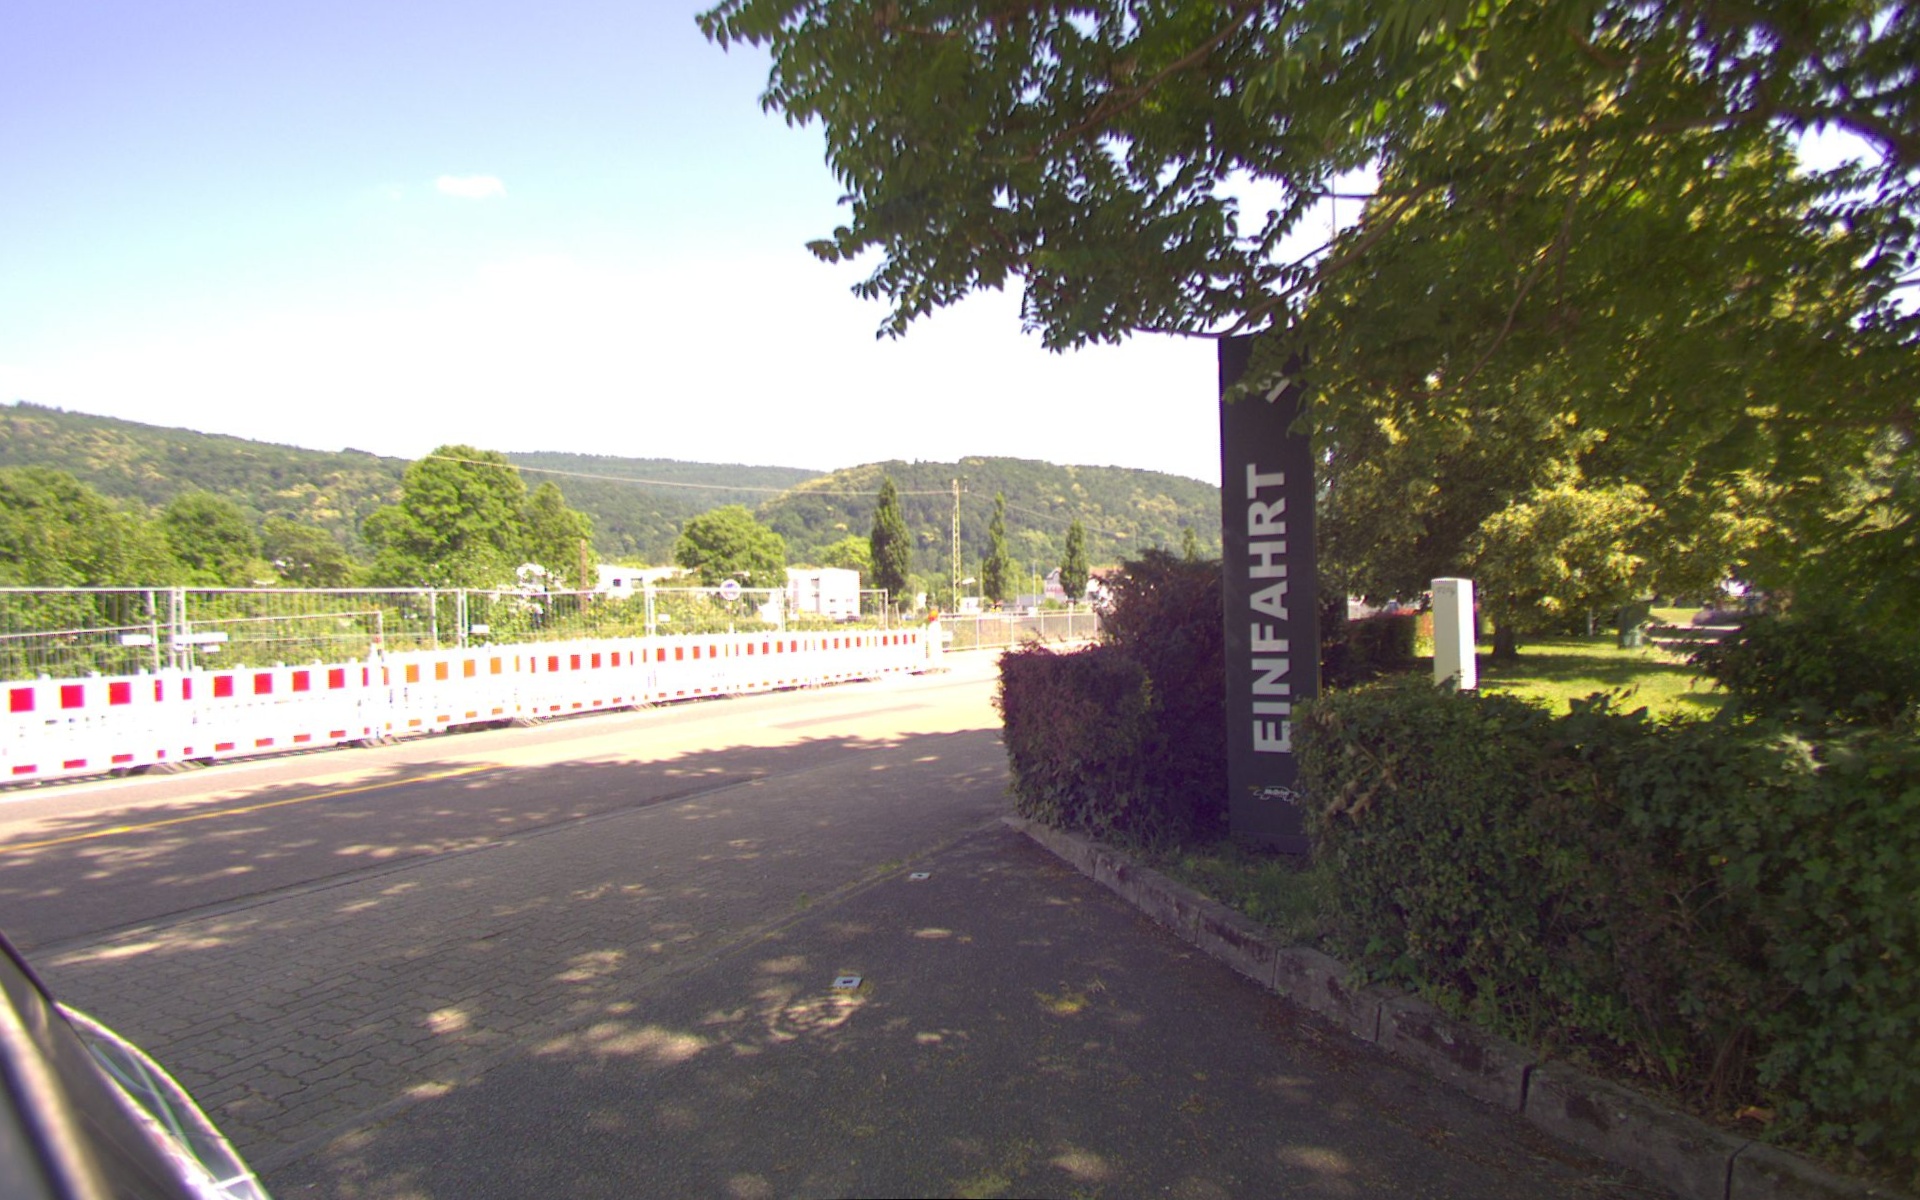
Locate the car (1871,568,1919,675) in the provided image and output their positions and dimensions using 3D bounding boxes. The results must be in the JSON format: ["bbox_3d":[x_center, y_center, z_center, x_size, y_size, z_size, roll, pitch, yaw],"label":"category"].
[{"bbox_3d":[16.364,0.342,16.133,1.855,1.698,4.323,0,0,30],"label":"car"}]
